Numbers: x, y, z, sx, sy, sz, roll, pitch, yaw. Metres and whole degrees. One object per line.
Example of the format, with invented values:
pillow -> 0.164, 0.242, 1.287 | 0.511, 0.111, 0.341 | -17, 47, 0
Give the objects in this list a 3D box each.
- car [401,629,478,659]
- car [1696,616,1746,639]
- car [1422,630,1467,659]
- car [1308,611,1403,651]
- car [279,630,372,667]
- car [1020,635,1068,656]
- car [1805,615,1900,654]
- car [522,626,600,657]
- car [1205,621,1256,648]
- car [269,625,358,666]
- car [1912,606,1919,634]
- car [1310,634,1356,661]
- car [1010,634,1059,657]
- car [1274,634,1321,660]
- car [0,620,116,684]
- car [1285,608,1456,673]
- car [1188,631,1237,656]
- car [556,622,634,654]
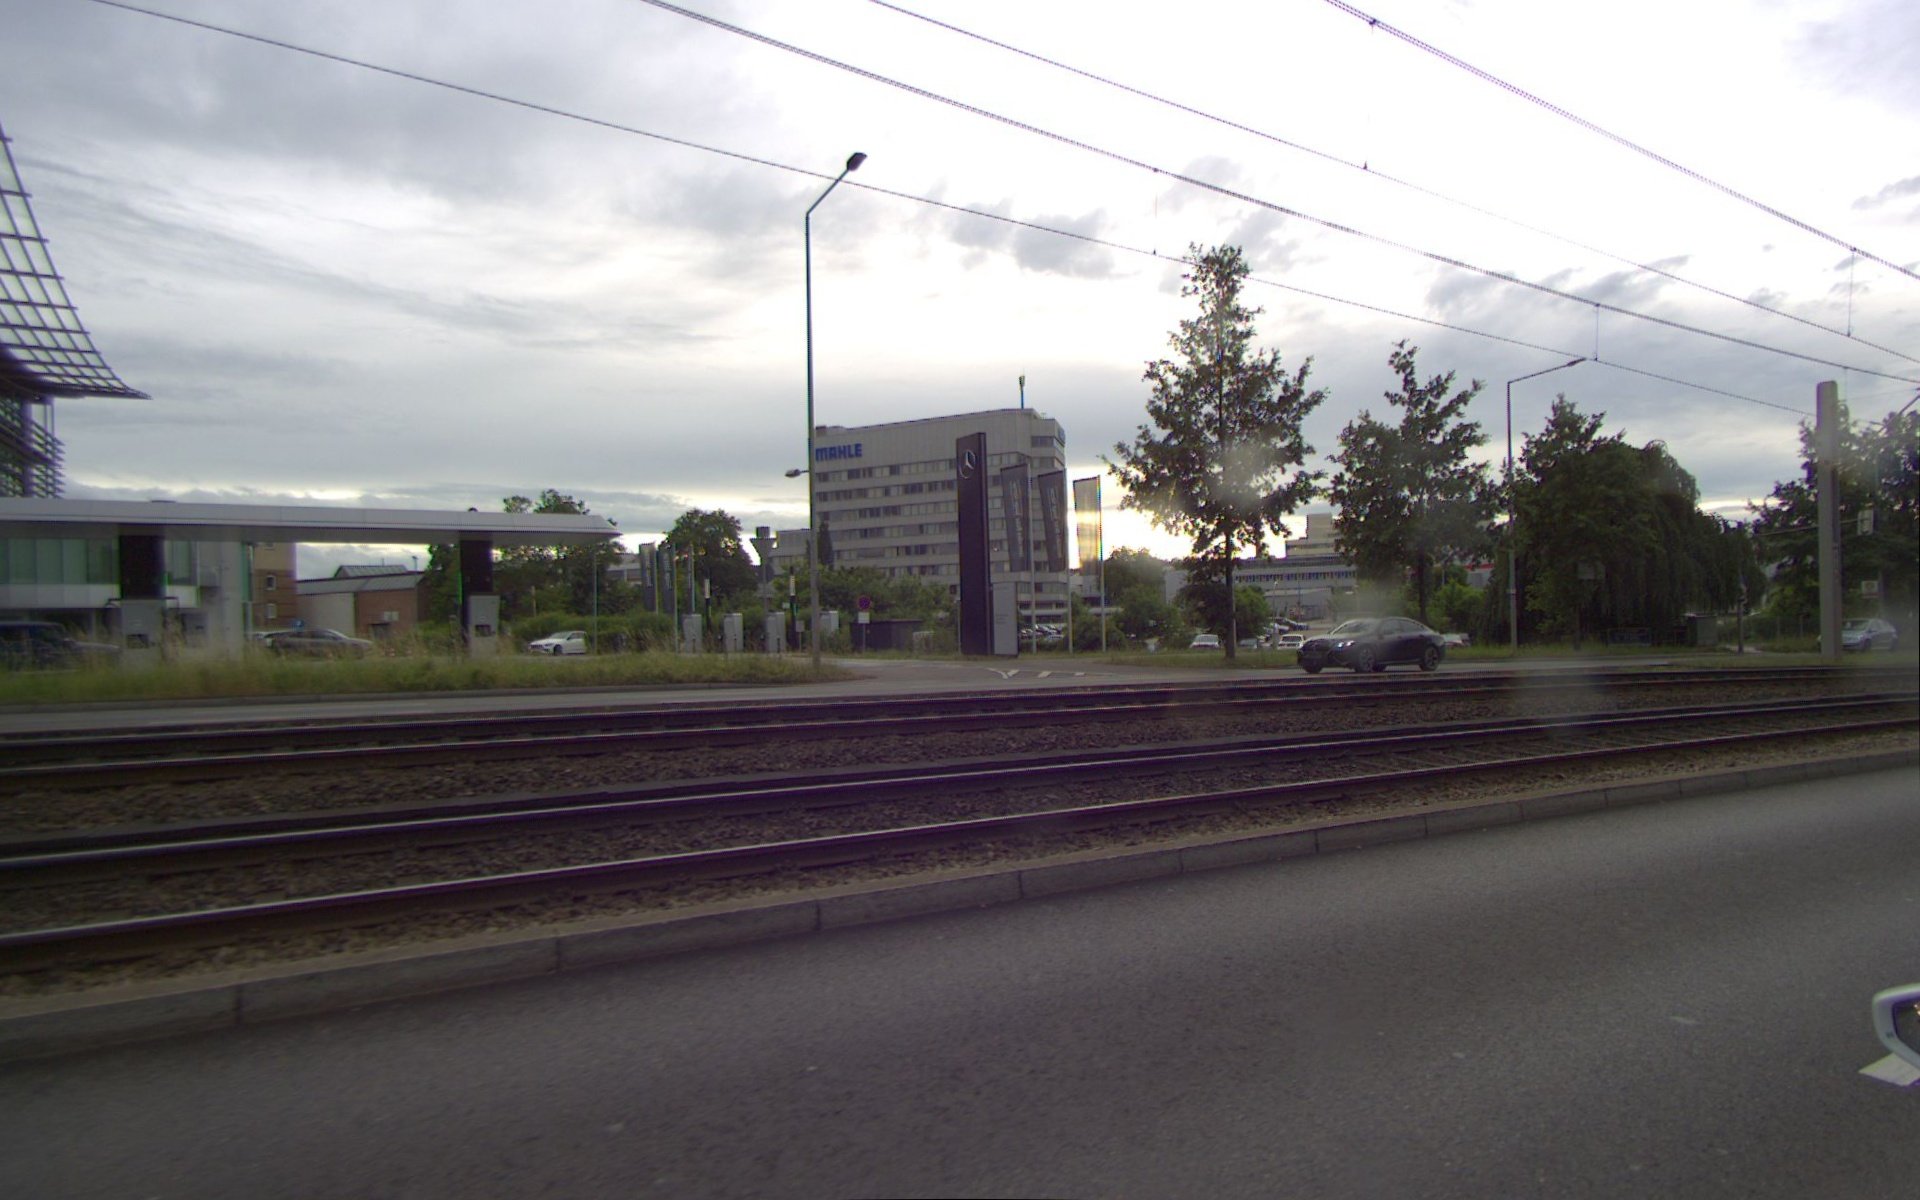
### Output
car -> -33.865, 2.845, 65.400 | 1.964, 1.750, 3.994 | 2, -1, 28
car -> 50.569, 1.823, 66.834 | 1.963, 1.433, 3.995 | 2, -1, 27
car -> 28.040, 2.571, 58.050 | 1.965, 1.530, 3.992 | 2, -1, 30
car -> 18.121, 1.423, 46.060 | 3.952, 1.672, 1.985 | 3, -1, -29
car -> -32.745, 2.512, 51.947 | 3.695, 1.732, 1.773 | 3, -1, -23
car -> 7.315, 3.932, 87.425 | 3.643, 1.696, 1.998 | 2, -1, 26
car -> 41.056, 1.579, 46.215 | 3.948, 1.702, 1.986 | 1, 0, -27
car -> -23.960, 2.478, 60.422 | 1.964, 1.750, 3.994 | 2, -1, 28
car -> 16.671, 2.146, 61.809 | 1.965, 1.530, 3.992 | 2, -1, 30
car -> -34.843, 2.469, 54.248 | 3.693, 2.040, 1.897 | 3, -1, -23
car -> 72.043, 1.494, 73.398 | 3.938, 2.040, 1.991 | 2, -1, -19
car -> 23.056, 2.911, 62.025 | 1.728, 1.514, 3.988 | 2, -1, 35
car -> 6.338, 3.861, 85.510 | 3.643, 1.696, 1.998 | 2, -1, 26
car -> 21.125, 2.921, 62.791 | 1.728, 1.514, 3.988 | 2, -1, 35
car -> -29.196, 1.592, 31.306 | 1.861, 1.875, 3.994 | 2, -1, 29
car -> 10.637, 1.054, 25.986 | 4.354, 1.540, 1.873 | 1, -4, -32
car -> 16.467, 2.801, 65.409 | 1.728, 1.514, 3.988 | 2, -1, 35
car -> -21.565, 2.245, 59.423 | 1.964, 1.750, 3.994 | 2, -1, 28
